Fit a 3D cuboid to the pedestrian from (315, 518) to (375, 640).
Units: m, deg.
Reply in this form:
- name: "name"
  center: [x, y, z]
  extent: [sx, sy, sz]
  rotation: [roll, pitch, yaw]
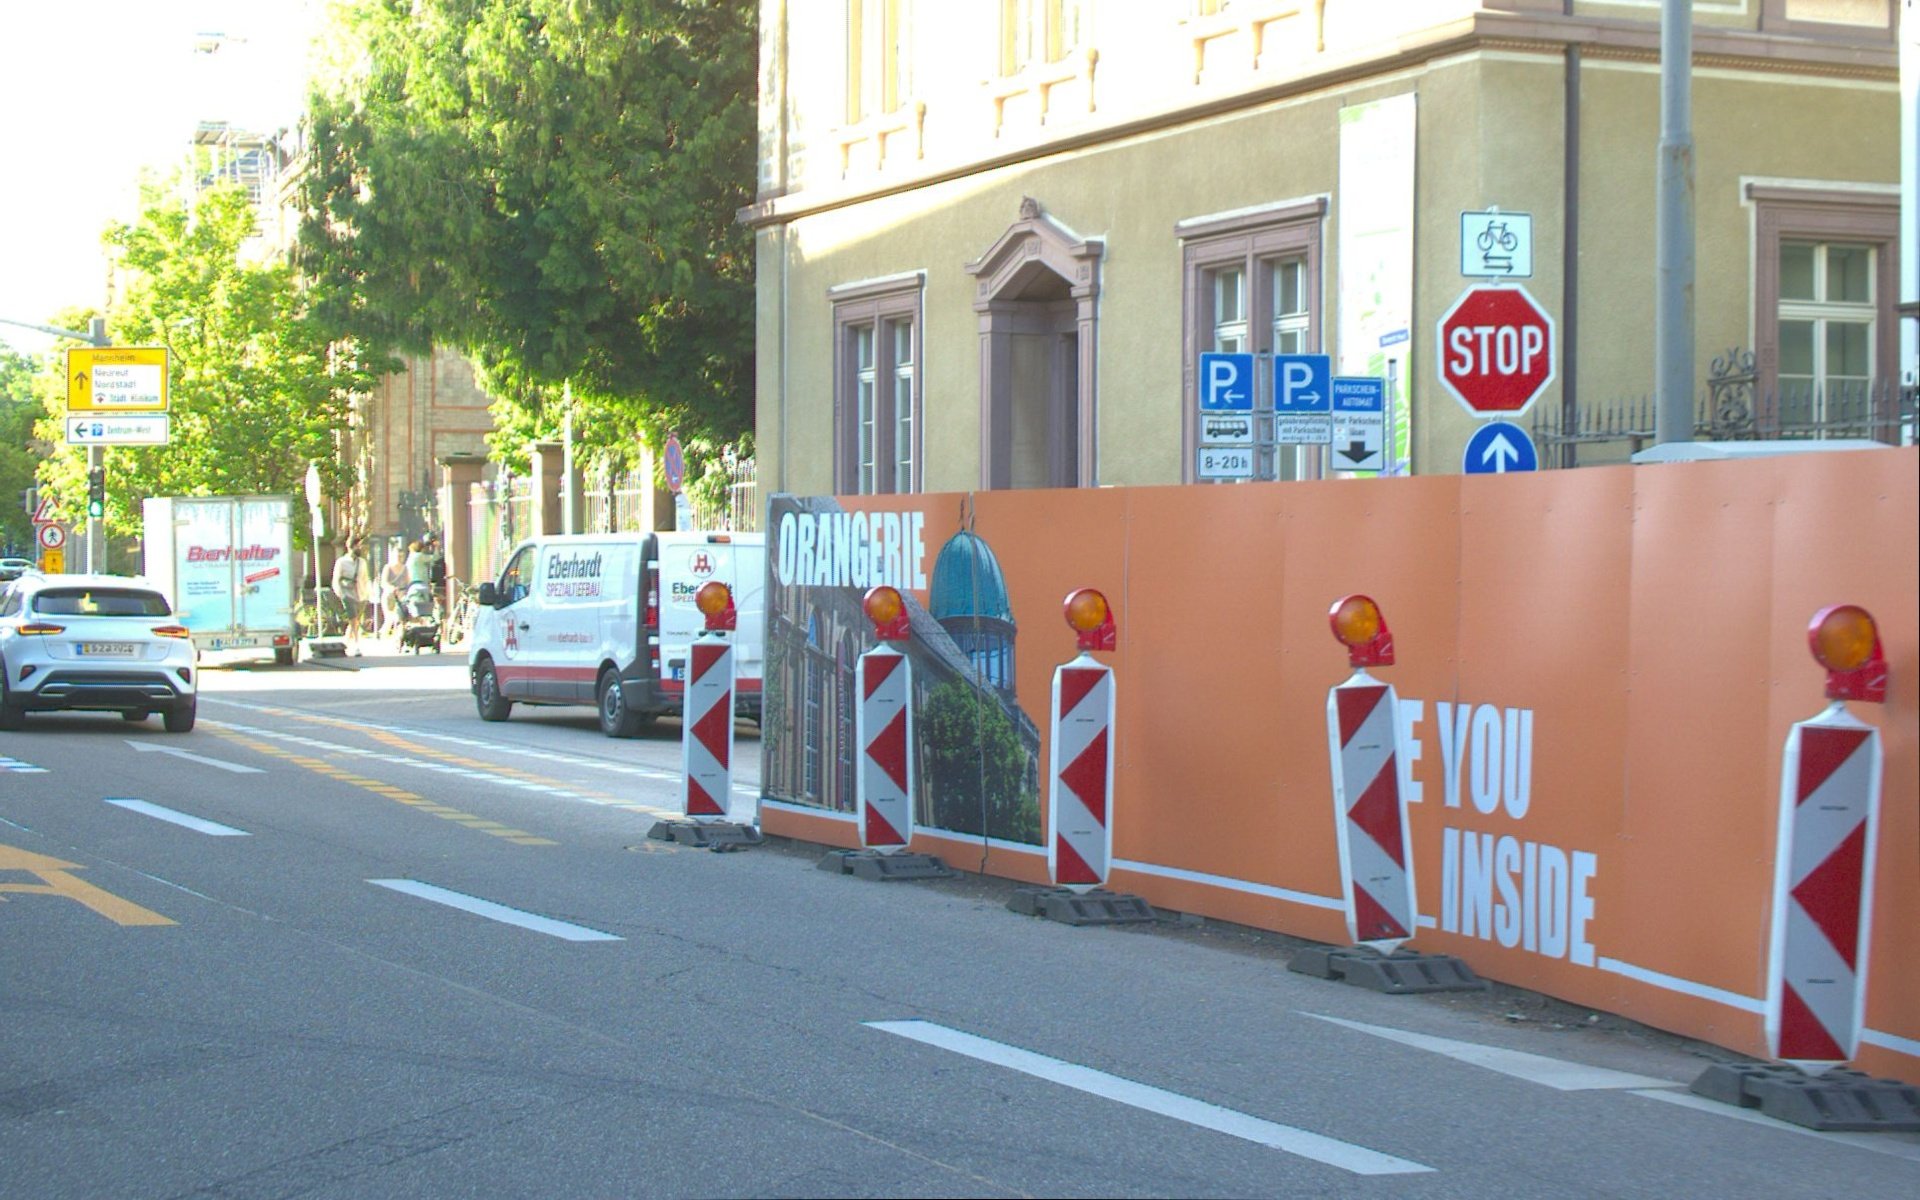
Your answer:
- name: "pedestrian"
  center: [-9.576, -0.339, 53.513]
  extent: [0.715, 1.888, 0.890]
  rotation: [-1, 1, -25]

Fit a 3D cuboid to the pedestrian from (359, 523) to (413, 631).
- name: "pedestrian"
  center: [-9.028, -0.370, 54.085]
  extent: [0.682, 1.695, 0.694]
  rotation: [-1, 1, -23]

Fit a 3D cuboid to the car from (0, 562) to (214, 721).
- name: "car"
  center: [-8.635, 0.356, 33.452]
  extent: [1.993, 1.448, 4.001]
  rotation: [0, 1, -23]

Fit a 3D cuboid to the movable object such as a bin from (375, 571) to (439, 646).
- name: "movable object such as a bin"
  center: [-8.575, 0.130, 53.281]
  extent: [0.711, 1.113, 1.051]
  rotation: [-2, 2, -25]

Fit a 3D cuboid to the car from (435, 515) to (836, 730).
- name: "car"
  center: [-3.350, 0.199, 34.296]
  extent: [2.014, 1.939, 5.482]
  rotation: [2, 0, -28]

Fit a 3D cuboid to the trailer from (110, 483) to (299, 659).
- name: "trailer"
  center: [-11.543, -0.471, 52.310]
  extent: [2.079, 2.519, 4.493]
  rotation: [-1, 1, -21]

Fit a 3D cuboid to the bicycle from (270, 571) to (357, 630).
- name: "bicycle"
  center: [-11.523, 0.009, 61.300]
  extent: [1.465, 1.035, 0.479]
  rotation: [0, 1, -22]

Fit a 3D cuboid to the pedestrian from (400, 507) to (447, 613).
- name: "pedestrian"
  center: [-8.987, -0.668, 57.612]
  extent: [0.639, 1.762, 0.738]
  rotation: [0, 1, -20]
